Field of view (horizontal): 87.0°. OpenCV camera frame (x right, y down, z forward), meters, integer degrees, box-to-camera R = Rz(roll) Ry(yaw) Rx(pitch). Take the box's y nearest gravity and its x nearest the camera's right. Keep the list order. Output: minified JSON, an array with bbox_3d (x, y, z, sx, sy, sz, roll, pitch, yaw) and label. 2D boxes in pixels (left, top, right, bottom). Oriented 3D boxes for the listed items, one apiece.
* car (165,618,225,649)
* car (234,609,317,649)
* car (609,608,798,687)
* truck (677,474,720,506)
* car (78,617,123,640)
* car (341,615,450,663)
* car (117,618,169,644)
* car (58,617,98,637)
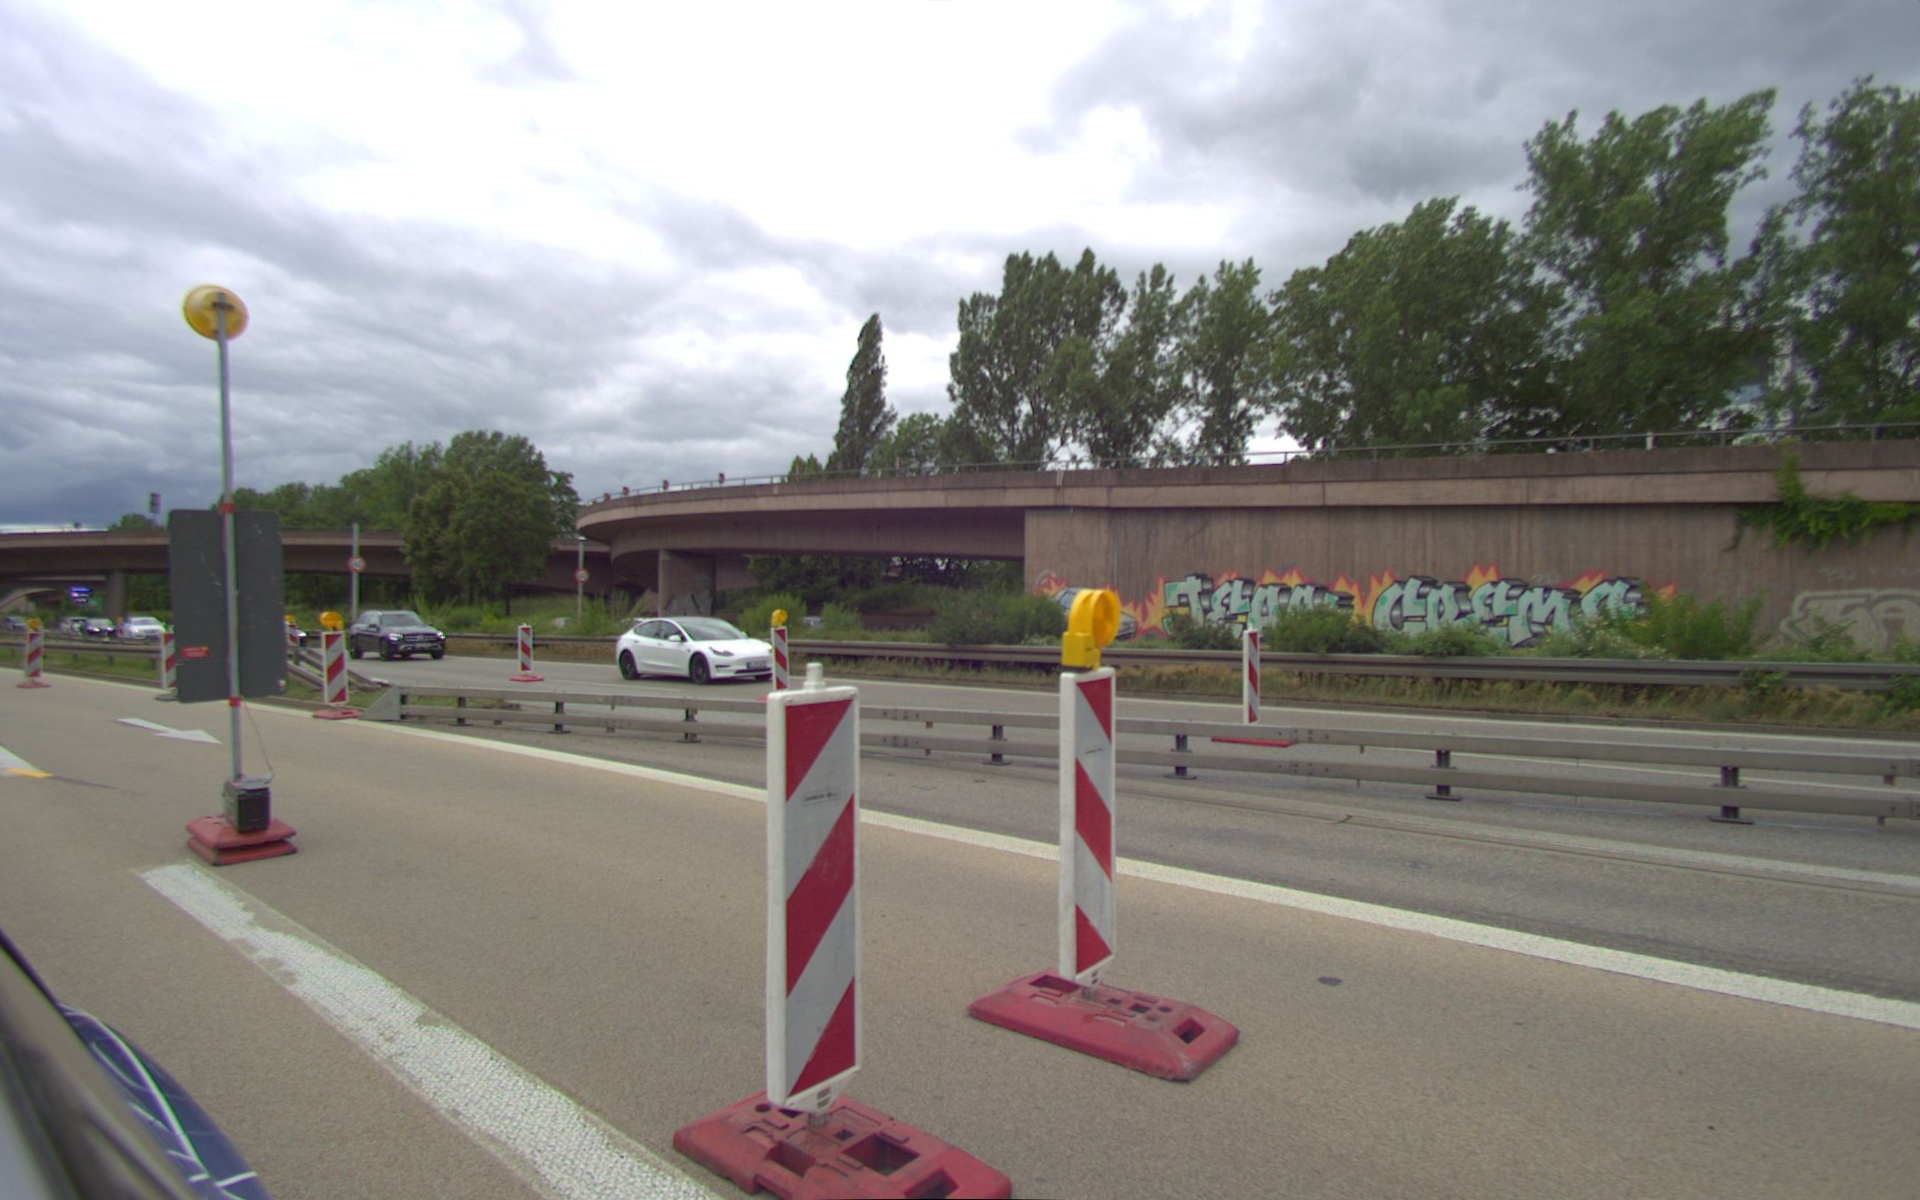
[{"bbox_3d":[-40.572,1.761,53.645,3.999,1.523,1.779,0,-1,42],"label":"car"},{"bbox_3d":[-30.917,1.308,45.680,3.994,1.716,1.912,-1,-2,38],"label":"car"},{"bbox_3d":[-5.840,0.984,22.747,4.459,1.553,1.972,-1,1,42],"label":"car"},{"bbox_3d":[-20.904,-8.737,80.719,1.967,2.029,4.009,-1,0,-36],"label":"truck"},{"bbox_3d":[-62.782,2.078,73.896,4.291,1.606,1.972,-1,-2,42],"label":"car"},{"bbox_3d":[-19.460,1.281,34.815,4.290,1.522,1.954,-1,-1,41],"label":"car"},{"bbox_3d":[-52.208,1.974,64.681,3.999,1.606,1.972,-1,-2,42],"label":"car"},{"bbox_3d":[-71.655,2.195,82.196,4.291,1.606,1.972,-1,-2,42],"label":"car"}]
